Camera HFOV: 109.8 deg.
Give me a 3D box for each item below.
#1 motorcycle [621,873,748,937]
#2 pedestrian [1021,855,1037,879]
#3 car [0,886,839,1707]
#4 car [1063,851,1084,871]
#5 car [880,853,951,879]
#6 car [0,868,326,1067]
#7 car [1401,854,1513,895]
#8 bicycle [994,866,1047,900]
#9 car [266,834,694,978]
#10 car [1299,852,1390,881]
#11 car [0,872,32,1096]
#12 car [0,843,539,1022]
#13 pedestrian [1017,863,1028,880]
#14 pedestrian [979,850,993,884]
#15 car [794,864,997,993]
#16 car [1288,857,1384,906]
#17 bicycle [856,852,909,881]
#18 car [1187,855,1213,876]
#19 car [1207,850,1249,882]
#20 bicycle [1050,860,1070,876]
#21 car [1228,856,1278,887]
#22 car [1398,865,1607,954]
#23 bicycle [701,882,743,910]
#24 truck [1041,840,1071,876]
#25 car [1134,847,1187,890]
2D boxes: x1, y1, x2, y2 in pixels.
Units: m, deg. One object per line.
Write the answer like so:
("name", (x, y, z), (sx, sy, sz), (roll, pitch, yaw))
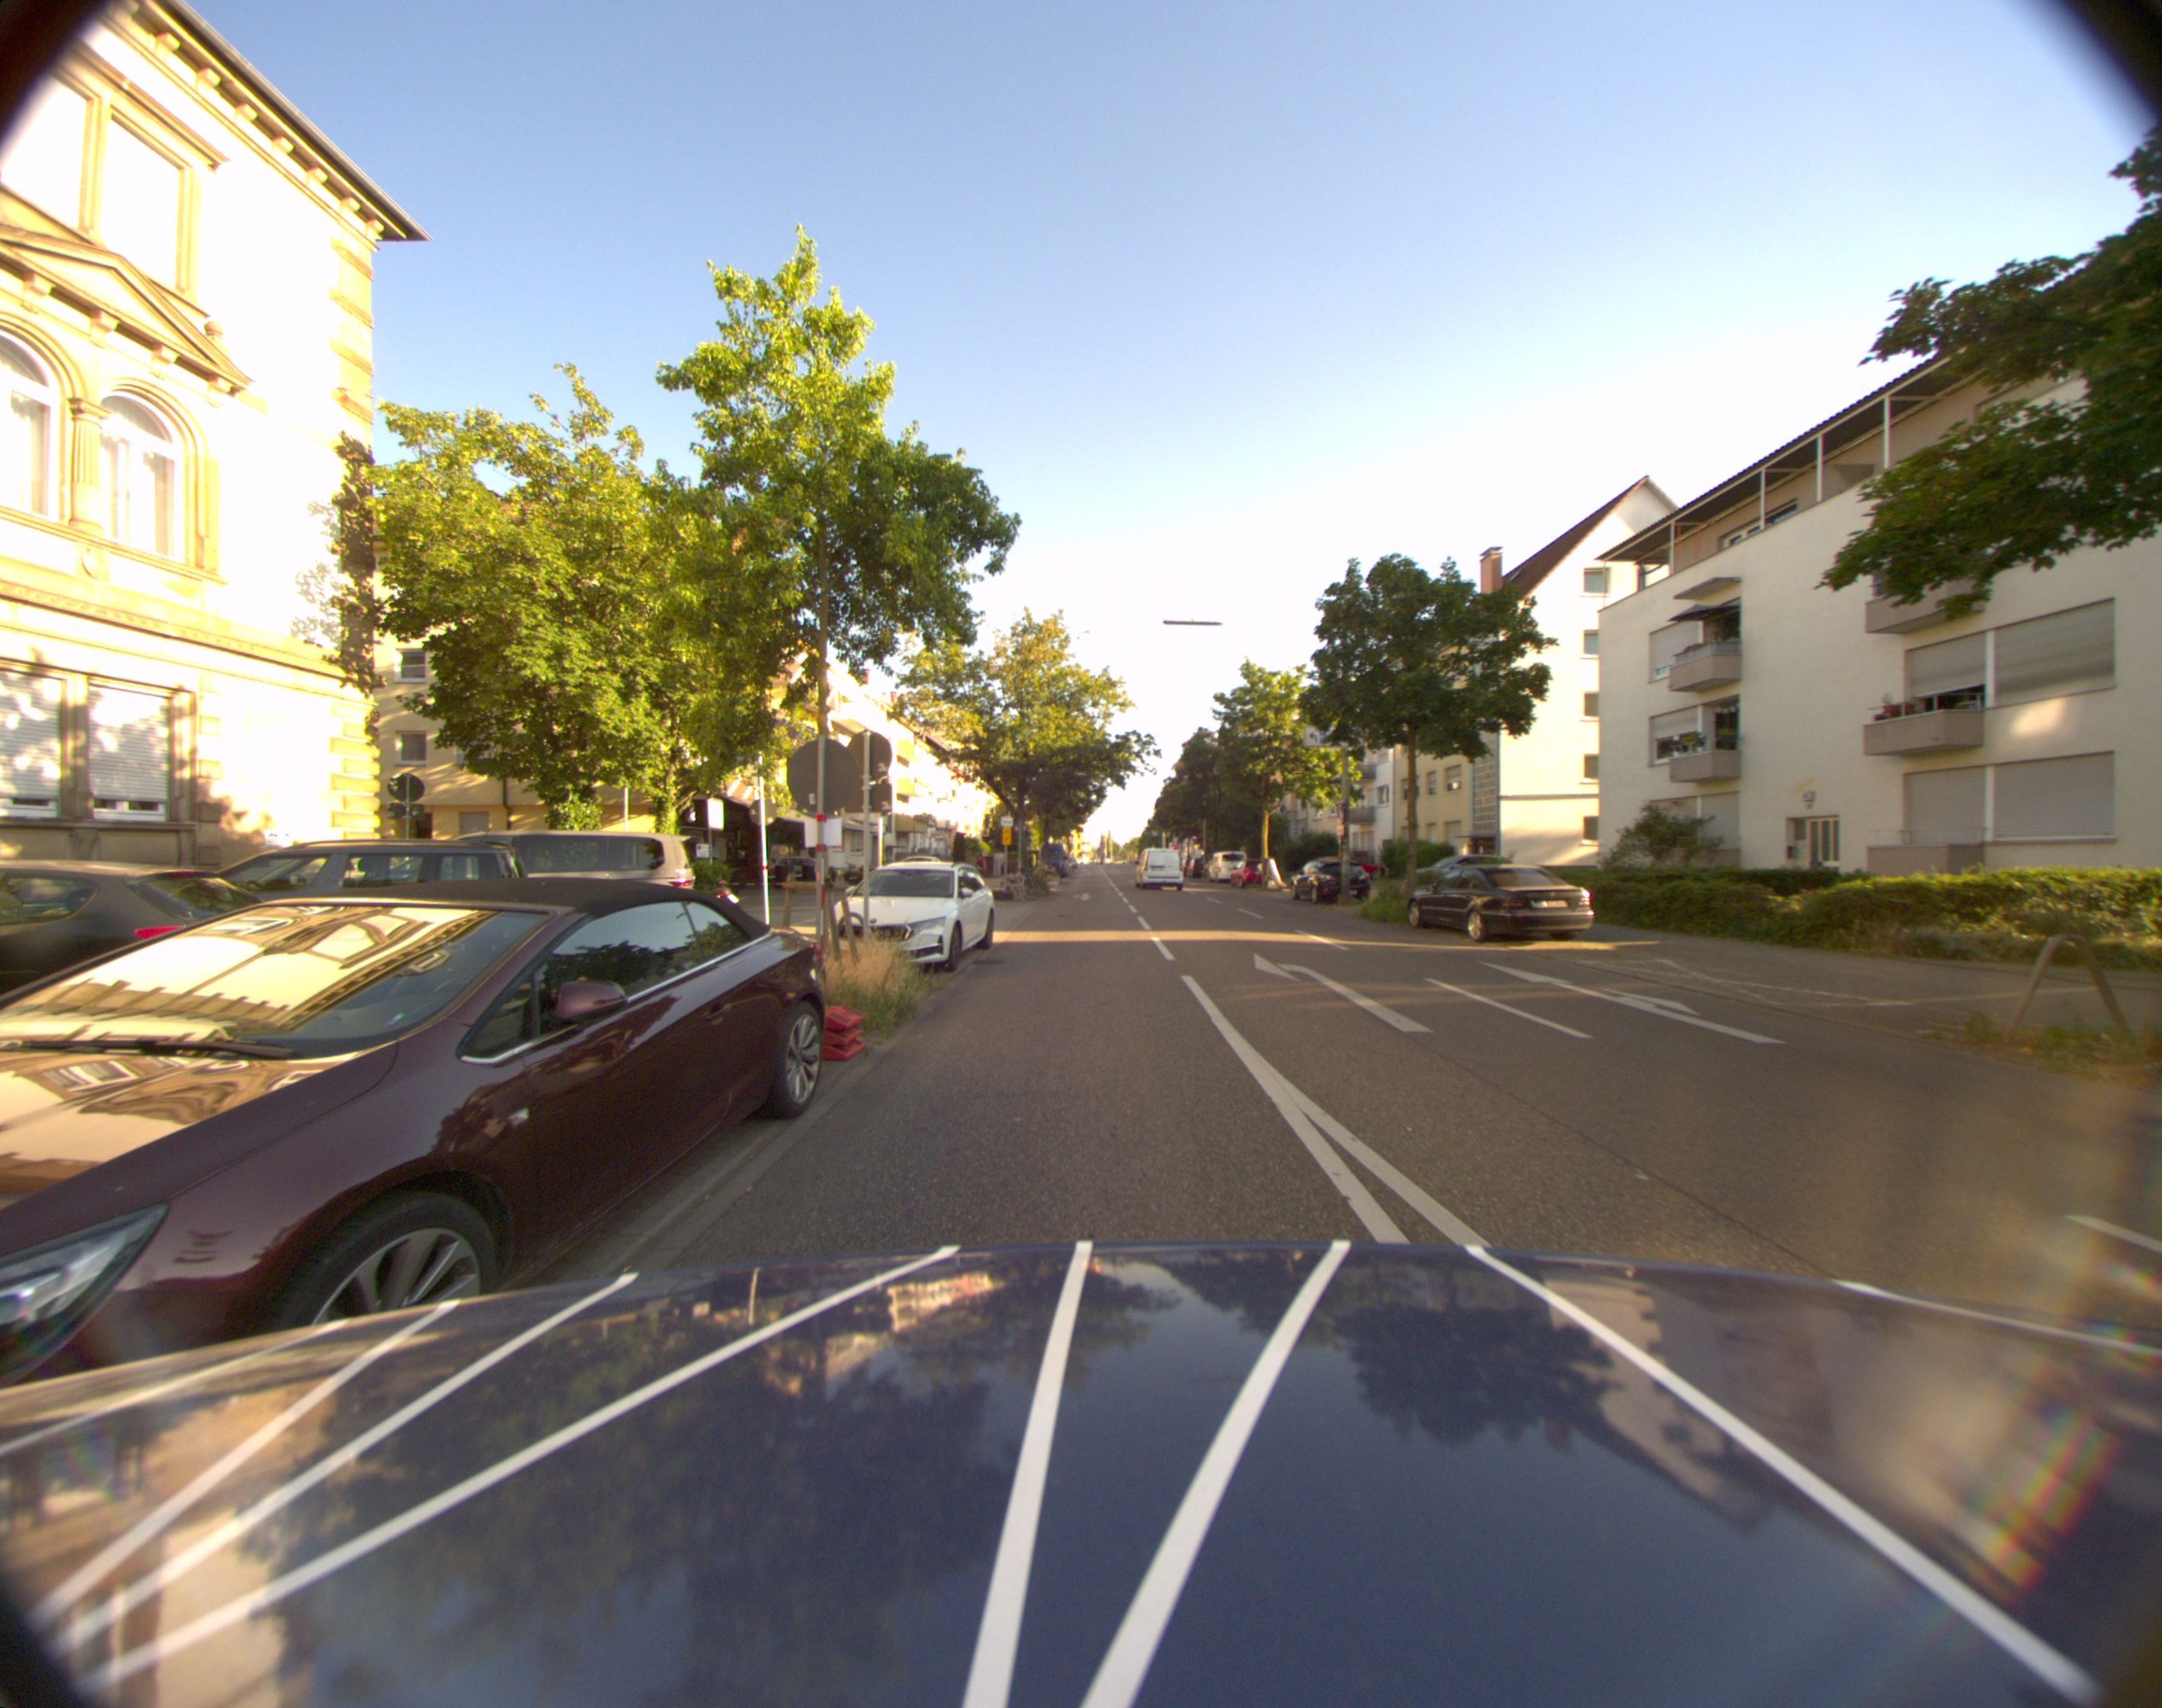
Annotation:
("motorcycle", (-8.087, 1.024, 15.599), (2.163, 1.232, 0.789), (0, 1, -9))
("pedestrian", (-3.086, 0.773, 44.994), (0.917, 1.435, 0.811), (0, 1, -1))
("car", (-2.619, 0.967, 3.036), (1.761, 1.412, 4.614), (2, 0, 0))
("car", (-0.639, 0.642, 69.053), (1.704, 1.739, 4.000), (0, 0, 2))
("car", (-9.703, 0.713, 44.829), (3.878, 1.496, 1.575), (0, 0, -4))
("car", (-9.190, 0.844, 6.075), (4.105, 1.432, 1.713), (2, 0, -22))
("car", (14.390, 0.753, 29.232), (3.467, 1.515, 1.686), (0, 0, 2))
("bicycle", (-2.217, 1.043, 27.719), (1.894, 1.155, 0.616), (2, 1, 28))
("car", (-8.872, 0.662, 11.915), (4.946, 1.888, 1.916), (0, 0, -28))
("car", (15.036, 0.697, 43.422), (4.563, 1.397, 1.739), (-2, 1, -9))
("car", (-9.051, 0.822, 3.775), (4.255, 1.502, 1.789), (1, 0, -17))
("car", (-8.946, 0.746, 8.844), (4.106, 1.689, 1.783), (0, 0, -29))
("pedestrian", (-3.563, 1.053, 46.291), (0.553, 1.053, 0.532), (0, 1, 2))
("pedestrian", (-4.973, 0.685, 39.732), (0.619, 1.761, 0.562), (0, 0, 2))
("car", (-2.483, 0.925, 11.429), (1.825, 1.469, 4.621), (0, 0, 1))
("car", (8.425, 0.860, 25.490), (1.862, 1.477, 4.000), (0, 0, 0))
("bicycle", (-10.091, 0.624, 38.697), (2.459, 1.433, 0.928), (0, 1, -1))
("car", (8.770, 0.810, 56.245), (1.407, 1.397, 3.683), (-2, 1, 2))
("car", (8.697, 0.666, 45.180), (1.740, 1.799, 4.192), (0, 0, 1))
("bicycle", (-1.498, 1.000, 54.363), (1.469, 1.058, 0.445), (0, 1, 1))
("car", (8.577, 0.846, 38.207), (1.740, 1.455, 3.636), (0, 0, 1))
("car", (7.925, 0.954, 14.826), (1.641, 1.399, 4.444), (0, 0, 0))
("bicycle", (-10.833, 1.246, 22.973), (0.486, 0.763, 1.531), (0, 0, 2))
("truck", (-1.823, 0.298, 57.970), (1.998, 2.629, 5.616), (0, 0, 1))
("car", (3.585, 0.623, 34.915), (1.893, 1.793, 4.430), (1, 0, -1))
